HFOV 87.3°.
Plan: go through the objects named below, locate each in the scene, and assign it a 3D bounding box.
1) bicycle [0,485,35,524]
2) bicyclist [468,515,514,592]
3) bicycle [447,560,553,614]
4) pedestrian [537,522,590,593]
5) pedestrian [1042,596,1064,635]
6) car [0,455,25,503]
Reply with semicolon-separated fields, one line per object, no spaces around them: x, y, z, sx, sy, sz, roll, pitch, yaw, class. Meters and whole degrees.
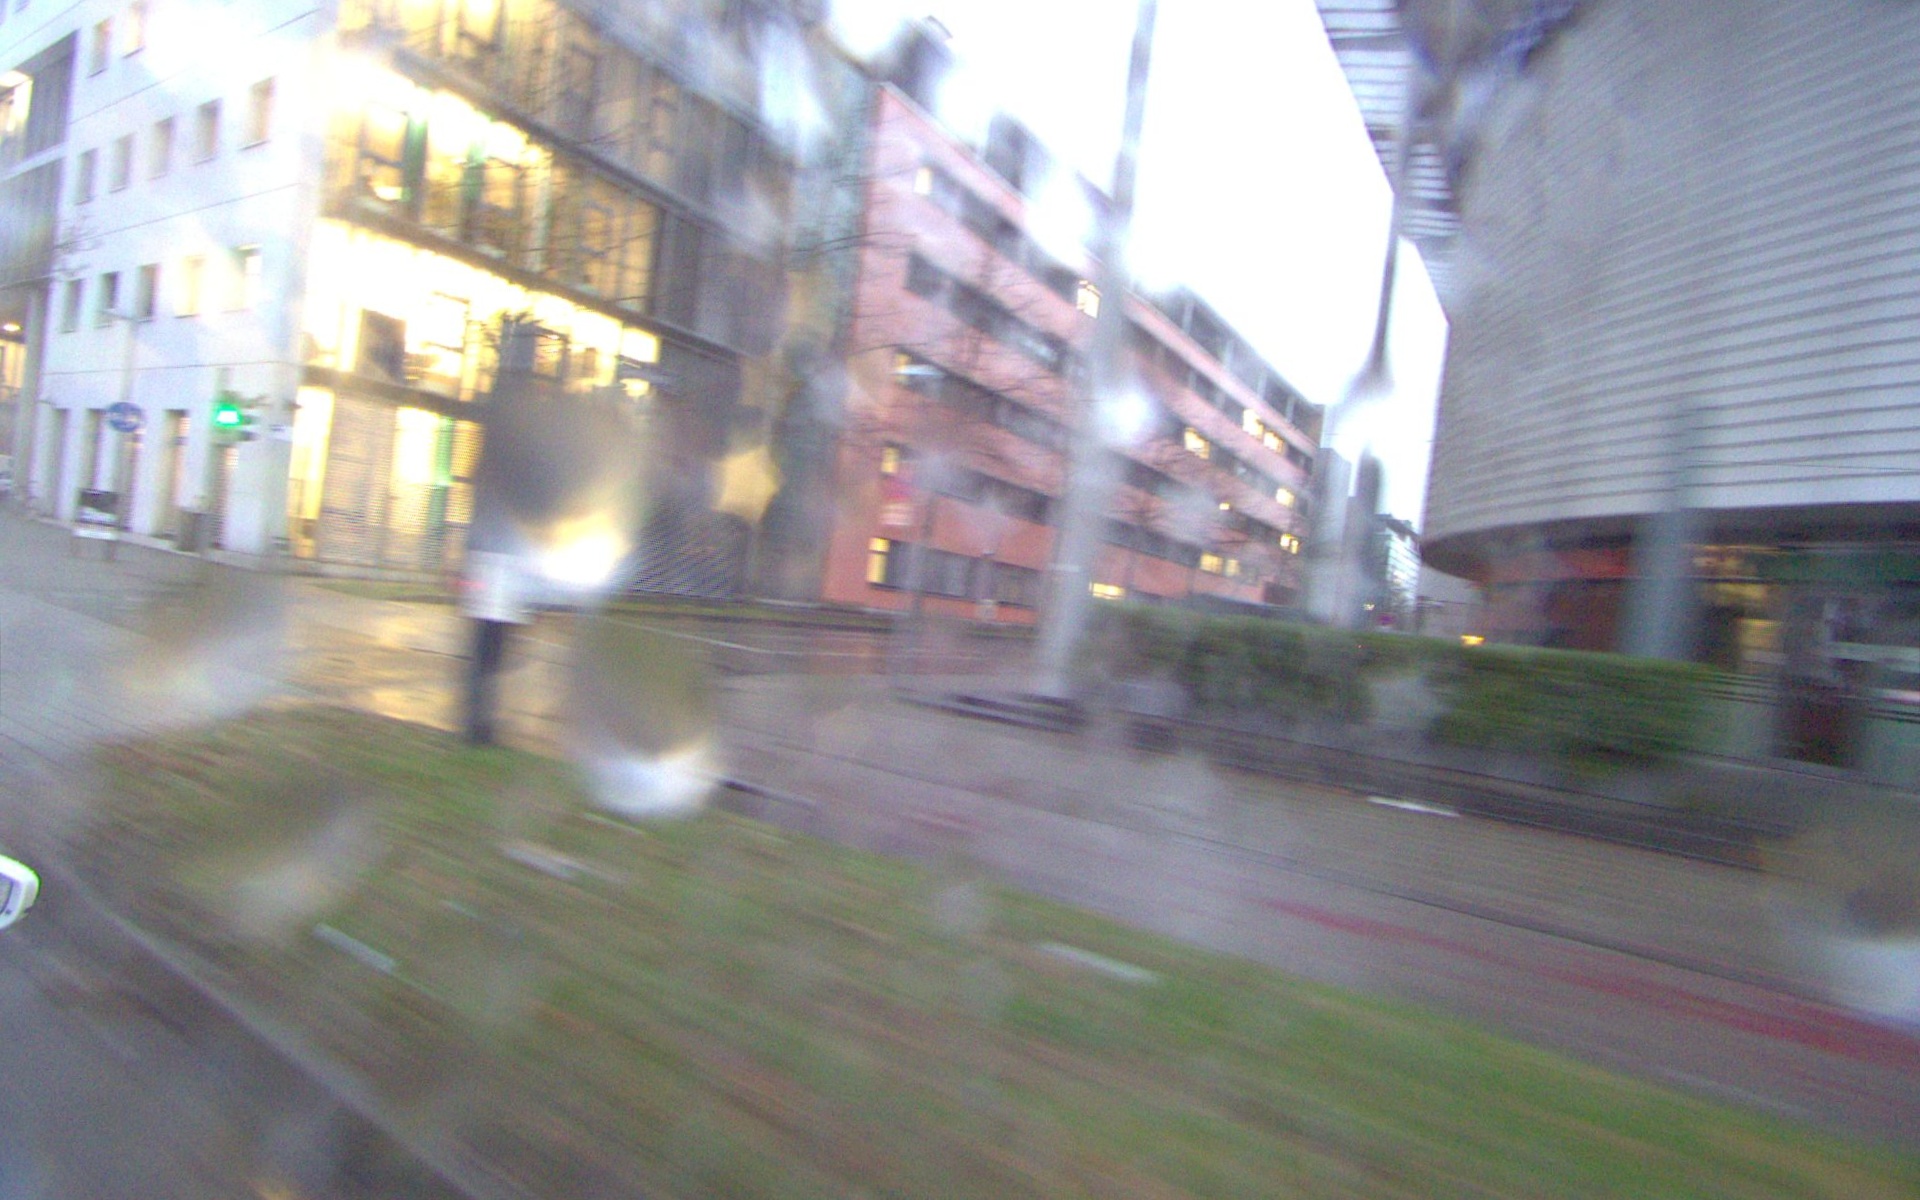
-26.541;-2.692;28.160;1.060;0.940;0.374;9;0;18;bicycle
-8.848;-0.862;19.001;0.616;1.345;0.562;8;-1;-24;bicyclist
-8.693;-0.246;19.080;1.712;0.754;0.648;9;-2;-24;bicycle
-10.123;-1.080;25.693;0.715;1.673;0.808;7;-1;35;pedestrian
4.437;0.739;47.821;0.666;1.781;0.454;7;-1;35;pedestrian
-39.143;-4.986;40.418;3.370;1.779;1.628;7;-2;38;car
